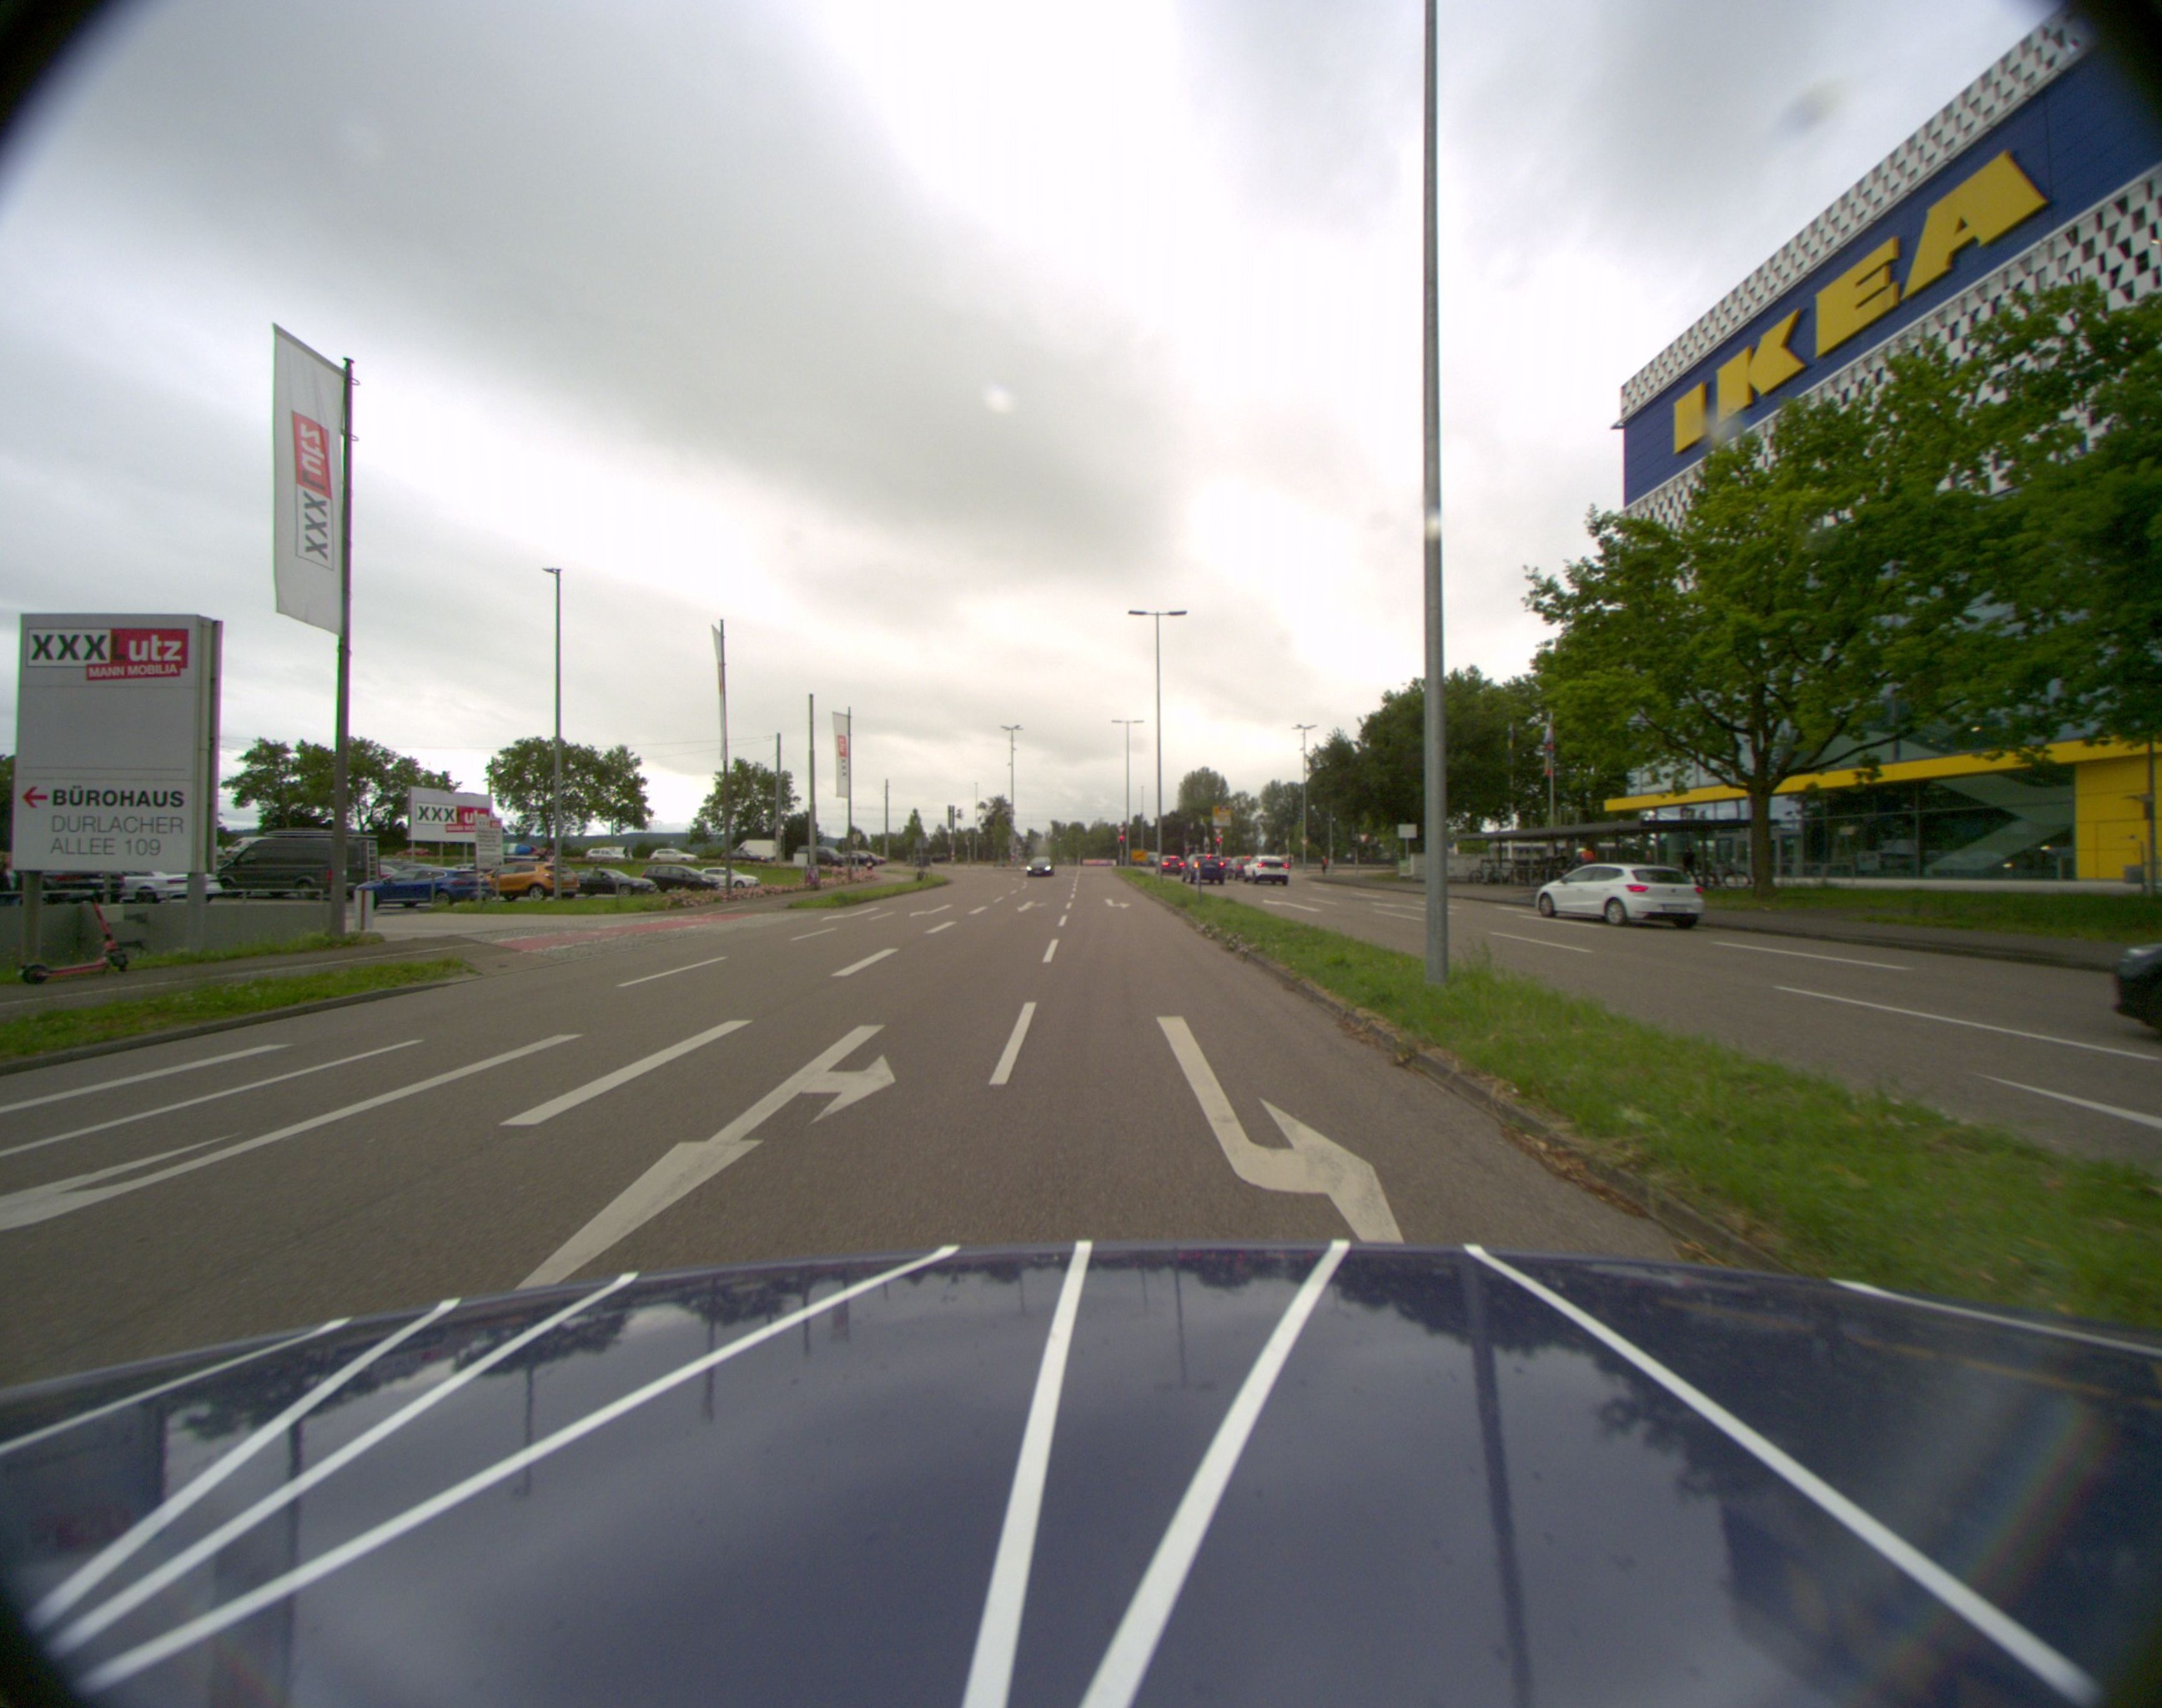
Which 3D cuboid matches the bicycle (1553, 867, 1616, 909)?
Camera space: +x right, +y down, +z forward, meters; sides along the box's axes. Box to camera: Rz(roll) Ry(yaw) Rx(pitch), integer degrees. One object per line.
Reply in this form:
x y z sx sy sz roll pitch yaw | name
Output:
16.092 1.066 24.363 0.644 1.243 2.056 -2 0 1 | bicycle

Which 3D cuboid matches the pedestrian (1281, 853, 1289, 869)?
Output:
22.097 0.750 82.248 0.675 1.702 0.766 0 1 5 | pedestrian

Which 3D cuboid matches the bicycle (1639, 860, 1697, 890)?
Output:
23.127 0.823 29.949 1.814 1.076 0.593 -2 0 1 | bicycle

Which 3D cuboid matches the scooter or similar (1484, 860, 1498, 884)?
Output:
20.949 0.903 38.815 0.358 1.178 1.295 -2 0 38 | scooter or similar

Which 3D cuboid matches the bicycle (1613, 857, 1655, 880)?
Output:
29.391 0.751 40.377 2.023 1.150 0.593 -2 0 -12 | bicycle

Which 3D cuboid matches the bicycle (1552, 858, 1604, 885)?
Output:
23.286 0.812 35.628 2.020 1.150 0.593 -2 0 1 | bicycle

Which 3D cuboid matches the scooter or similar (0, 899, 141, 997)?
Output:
-13.725 1.237 10.315 0.371 1.184 1.248 0 0 1 | scooter or similar

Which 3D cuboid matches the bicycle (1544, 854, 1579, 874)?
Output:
29.494 0.629 46.668 2.023 1.150 0.593 -2 0 -15 | bicycle

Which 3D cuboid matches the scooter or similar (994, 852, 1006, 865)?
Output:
-8.273 0.437 77.420 1.113 1.249 0.321 1 3 14 | scooter or similar

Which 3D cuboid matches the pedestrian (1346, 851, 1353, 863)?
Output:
34.673 0.420 98.165 0.632 1.550 0.711 -1 -2 2 | pedestrian

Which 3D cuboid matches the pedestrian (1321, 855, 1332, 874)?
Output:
21.585 0.919 66.868 0.635 1.633 0.809 -1 3 -2 | pedestrian

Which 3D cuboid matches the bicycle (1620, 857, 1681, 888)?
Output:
23.436 0.759 31.285 2.020 1.150 0.593 -2 0 1 | bicycle

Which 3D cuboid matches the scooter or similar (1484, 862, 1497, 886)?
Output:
20.004 0.969 37.132 0.423 1.142 1.351 -2 1 33 | scooter or similar

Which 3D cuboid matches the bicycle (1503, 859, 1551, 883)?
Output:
23.110 0.876 39.414 2.018 1.150 0.594 -2 0 17 | bicycle

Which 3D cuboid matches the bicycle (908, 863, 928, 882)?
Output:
-9.654 1.090 45.038 0.664 1.042 1.692 0 1 7 | bicycle

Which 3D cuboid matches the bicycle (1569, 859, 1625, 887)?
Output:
22.886 0.836 33.701 2.020 1.150 0.593 -2 0 1 | bicycle

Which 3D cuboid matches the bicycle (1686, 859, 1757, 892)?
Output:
23.377 0.776 27.759 2.020 1.116 0.594 -2 0 3 | bicycle

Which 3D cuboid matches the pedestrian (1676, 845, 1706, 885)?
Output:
27.323 0.492 34.055 0.679 1.735 0.808 -1 0 1 | pedestrian

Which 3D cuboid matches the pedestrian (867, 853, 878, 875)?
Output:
-15.617 0.738 56.947 0.717 1.588 0.782 -1 3 -14 | pedestrian

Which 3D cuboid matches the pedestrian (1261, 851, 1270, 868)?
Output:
19.192 0.547 78.998 0.664 1.756 0.686 2 4 -2 | pedestrian

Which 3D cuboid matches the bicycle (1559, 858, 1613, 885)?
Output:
23.206 0.811 34.920 2.020 1.150 0.593 -2 0 1 | bicycle

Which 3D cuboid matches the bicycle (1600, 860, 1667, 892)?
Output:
21.584 0.864 29.730 2.018 1.150 0.594 -2 0 15 | bicycle

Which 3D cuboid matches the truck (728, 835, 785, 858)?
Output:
-43.662 -1.041 102.371 6.542 2.905 2.828 1 -2 -6 | truck

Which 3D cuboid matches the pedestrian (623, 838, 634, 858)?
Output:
-40.776 -0.577 68.453 0.545 1.771 0.636 -2 -2 37 | pedestrian

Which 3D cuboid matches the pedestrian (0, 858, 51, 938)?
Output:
-23.656 0.968 16.649 0.942 1.709 0.886 -1 -2 0 | pedestrian

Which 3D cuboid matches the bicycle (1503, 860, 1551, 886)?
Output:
21.183 0.909 36.134 1.898 1.150 0.593 -2 0 1 | bicycle

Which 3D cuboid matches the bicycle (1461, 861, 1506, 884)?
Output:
21.010 0.947 39.651 2.020 1.150 0.593 -1 0 1 | bicycle

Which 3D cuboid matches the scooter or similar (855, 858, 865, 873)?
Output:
-17.710 0.926 60.936 0.347 1.226 1.162 -3 2 -37 | scooter or similar

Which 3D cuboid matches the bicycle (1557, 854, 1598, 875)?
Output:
29.640 0.606 45.369 2.021 1.150 0.593 -2 0 -1 | bicycle

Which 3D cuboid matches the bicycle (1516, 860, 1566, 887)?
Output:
21.199 0.882 35.053 1.898 1.150 0.593 -2 0 1 | bicycle

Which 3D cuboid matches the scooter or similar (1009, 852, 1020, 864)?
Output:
-6.836 0.396 77.746 1.016 1.249 0.465 1 2 14 | scooter or similar
